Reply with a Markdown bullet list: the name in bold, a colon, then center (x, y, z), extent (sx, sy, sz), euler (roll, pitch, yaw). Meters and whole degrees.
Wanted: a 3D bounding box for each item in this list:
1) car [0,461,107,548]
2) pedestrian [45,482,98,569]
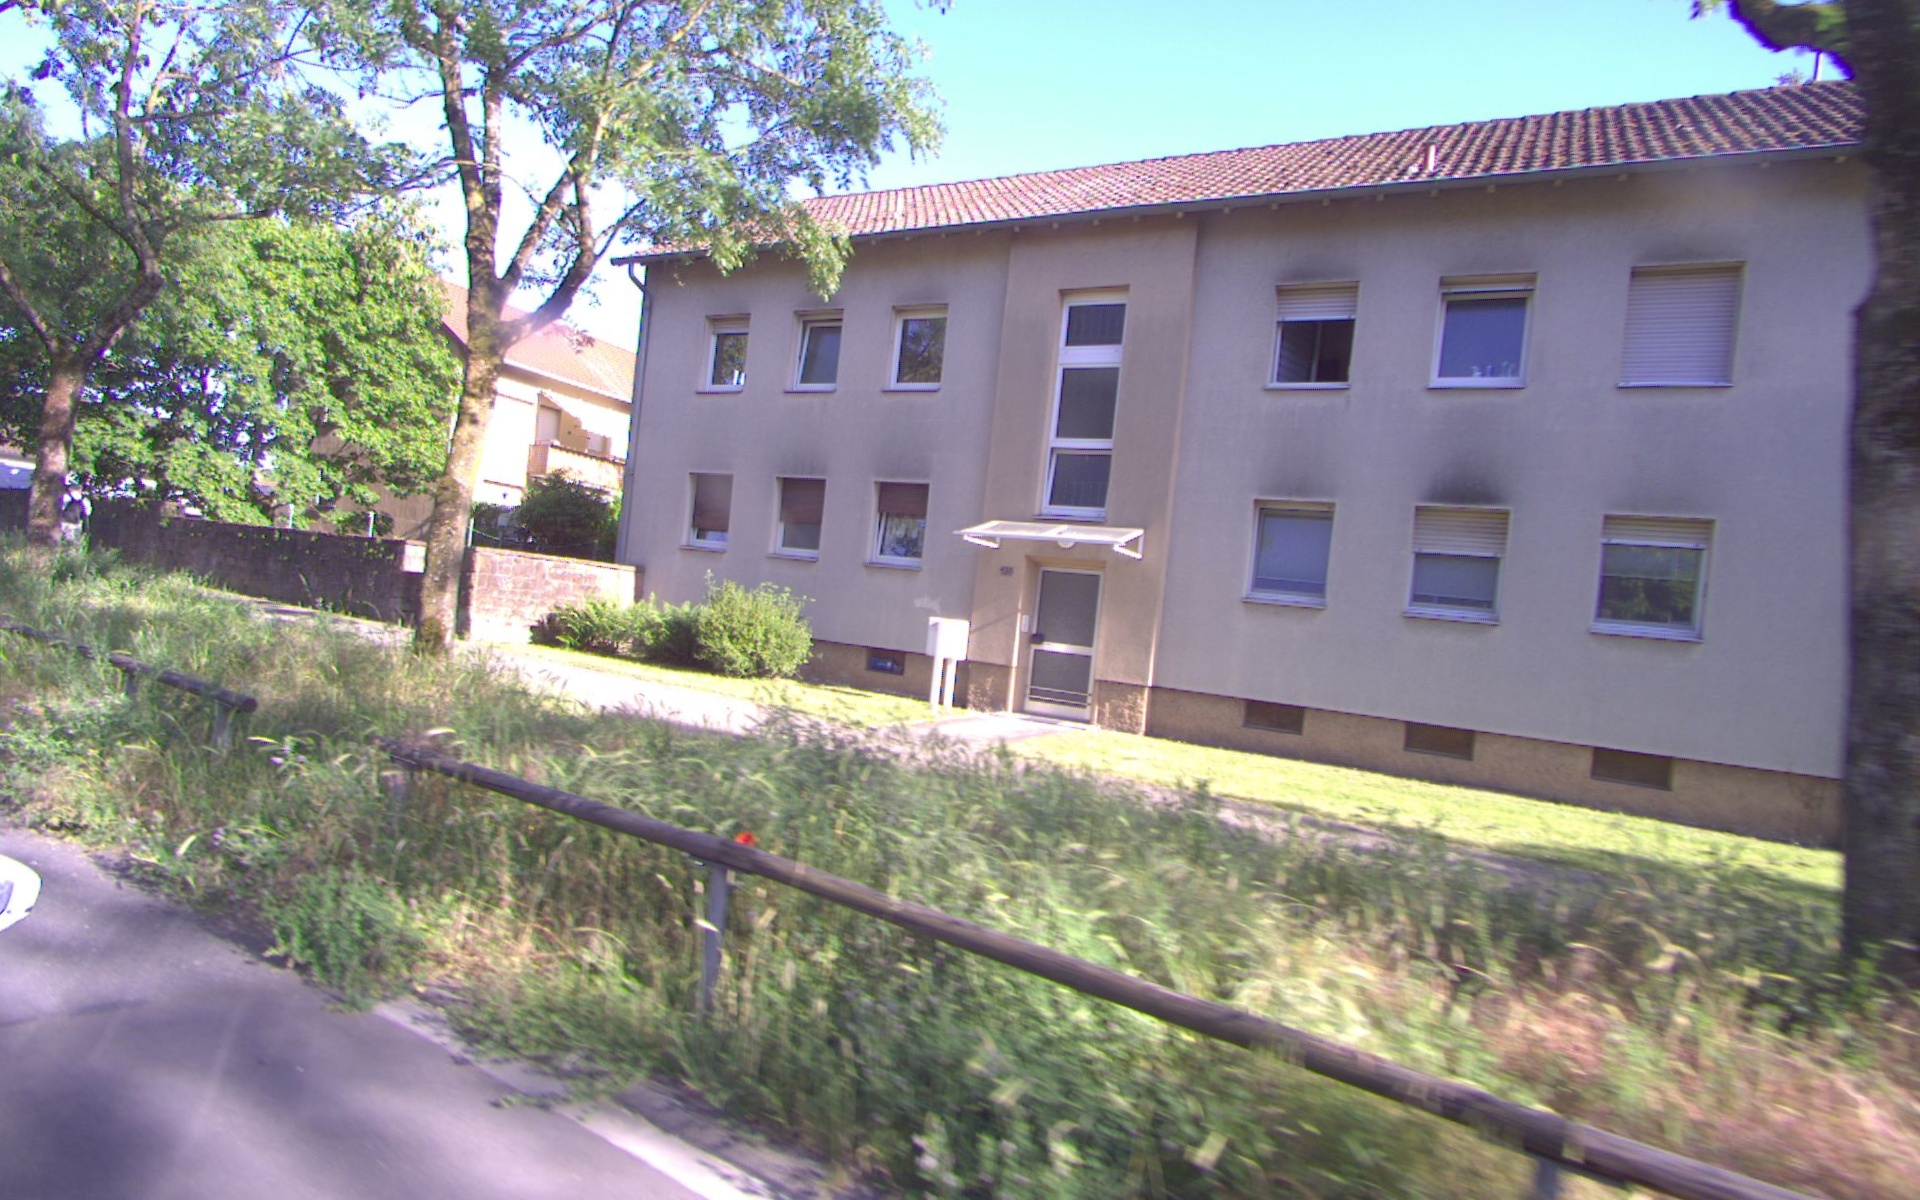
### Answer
- **car**: center (-32.839, -3.433, 33.959), extent (2.227, 2.570, 5.604), euler (7, 0, 29)
- **pedestrian**: center (-18.756, -1.567, 21.244), extent (0.602, 1.729, 0.637), euler (8, 4, 31)
